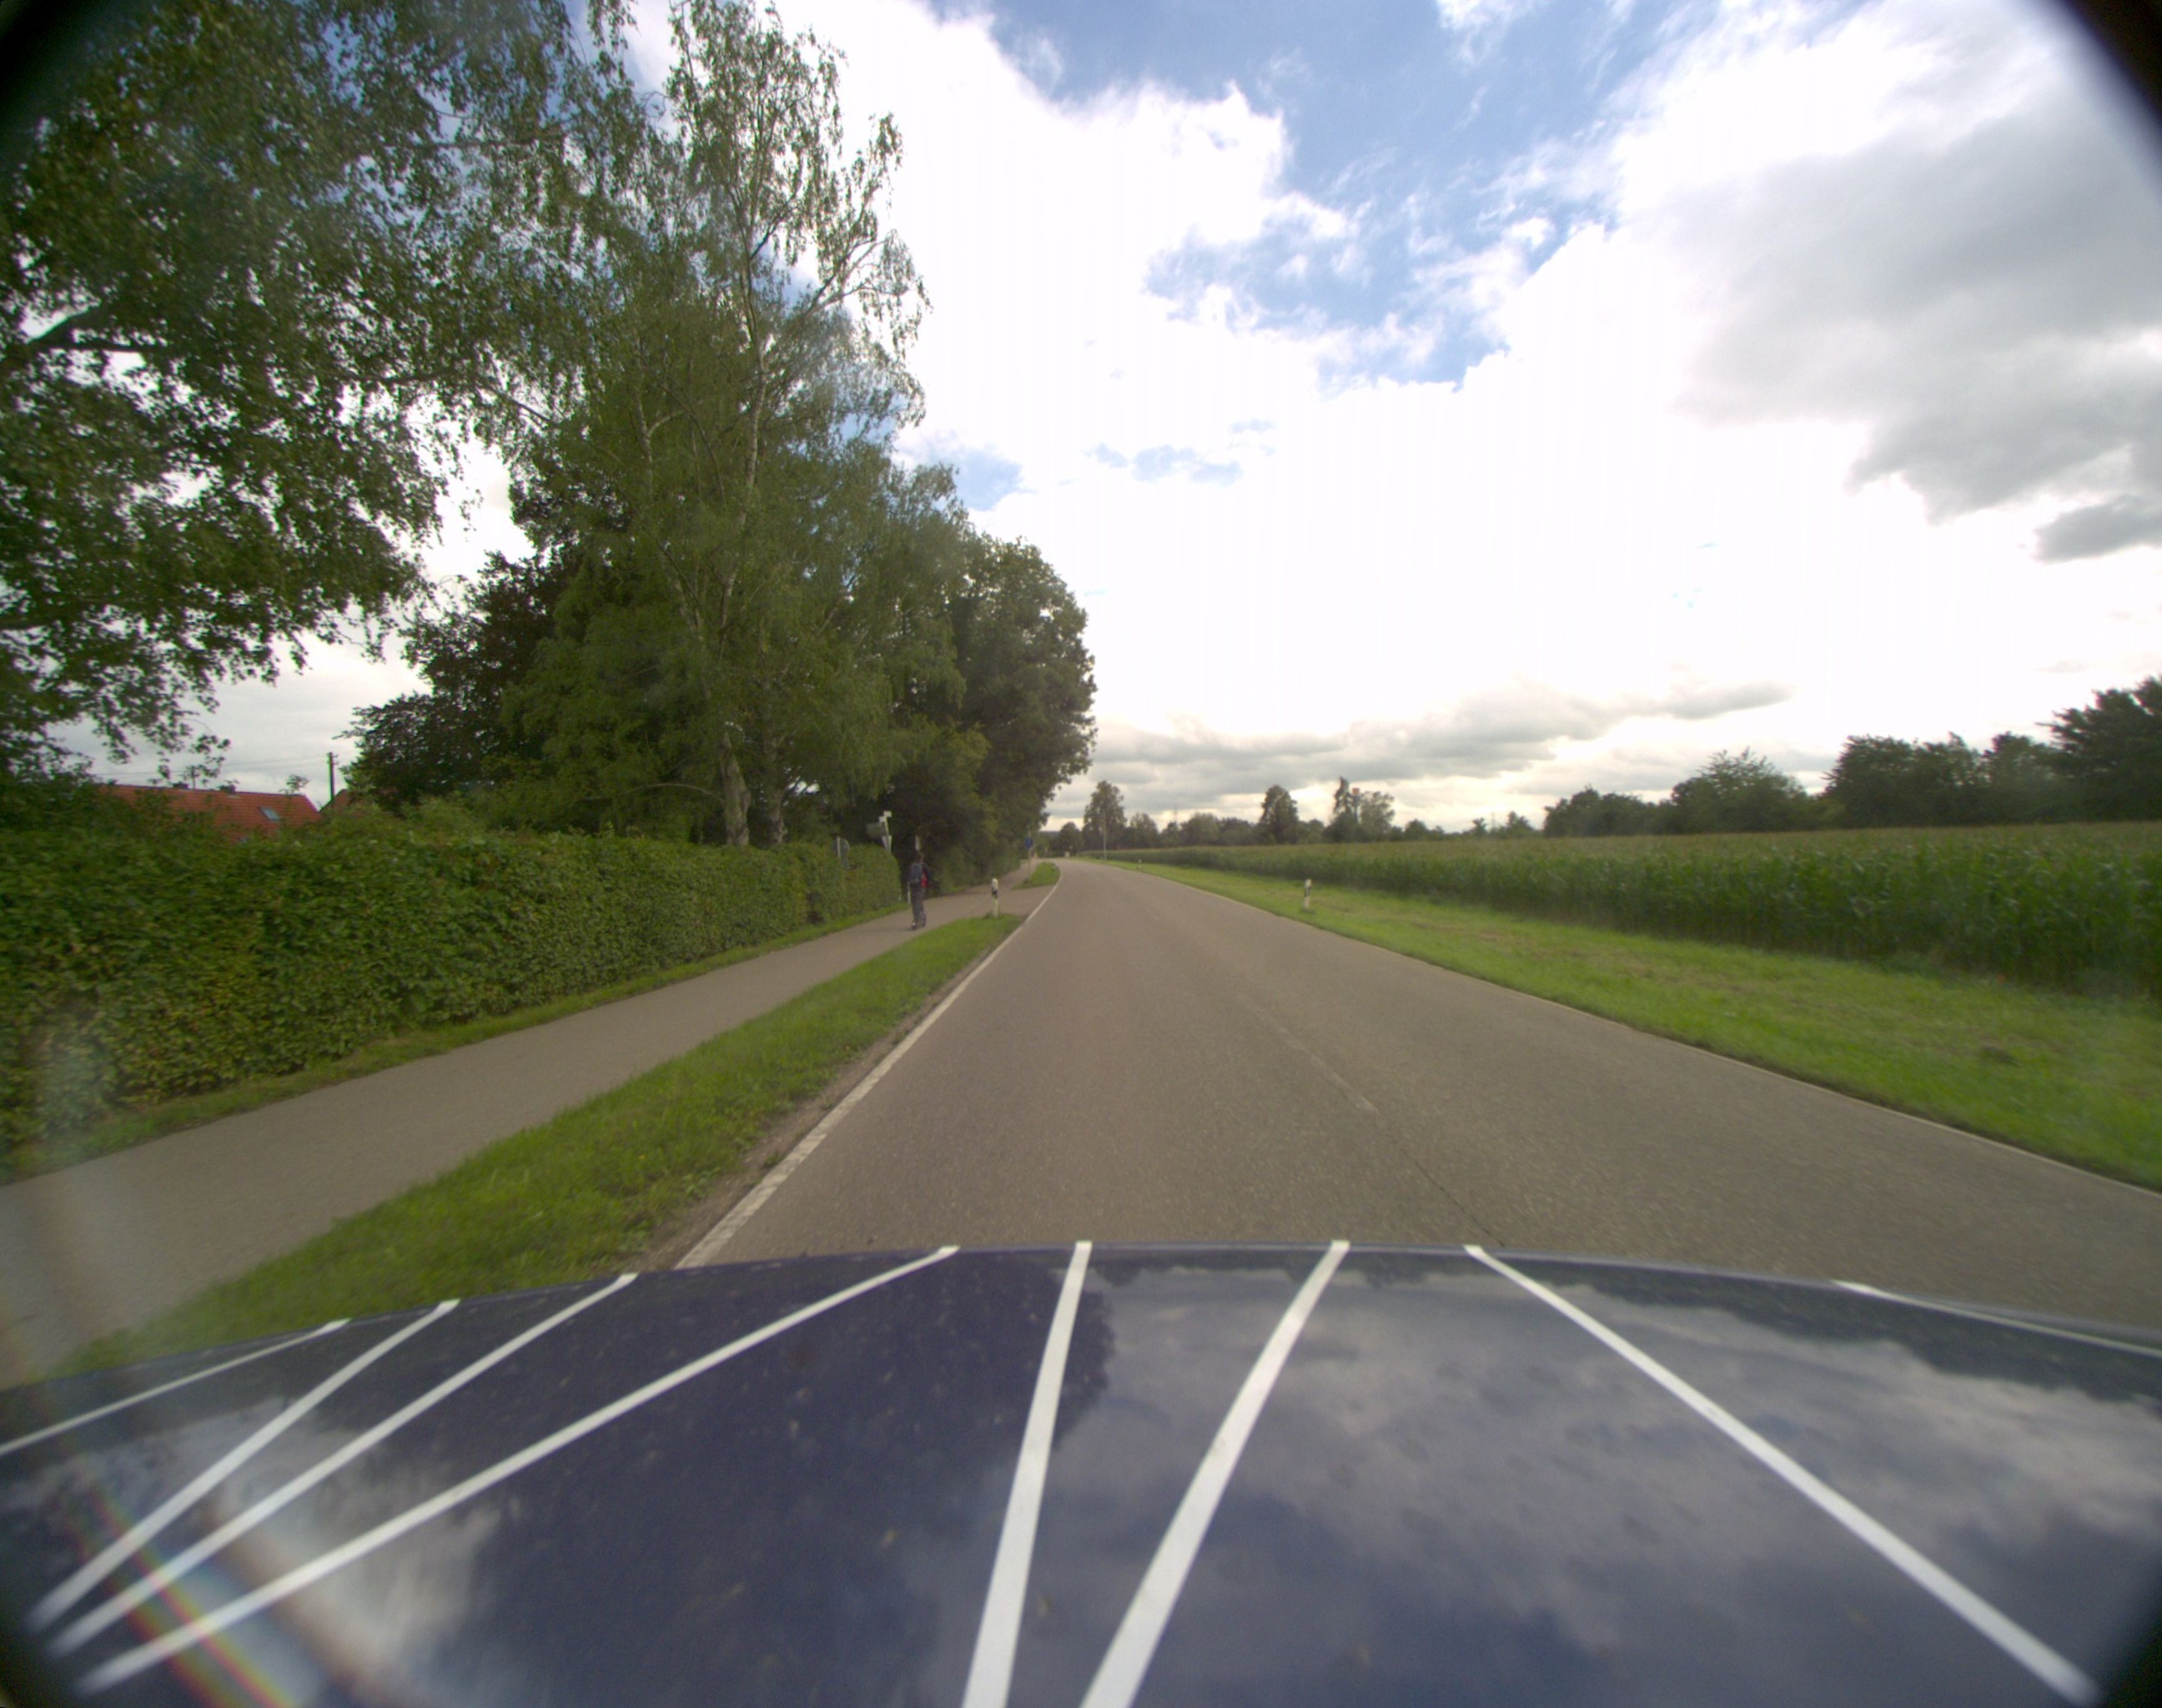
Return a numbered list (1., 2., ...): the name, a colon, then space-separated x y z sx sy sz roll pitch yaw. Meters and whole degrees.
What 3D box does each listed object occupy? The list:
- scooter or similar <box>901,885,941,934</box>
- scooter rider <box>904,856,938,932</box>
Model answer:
1. scooter or similar: -4.202 1.444 20.086 0.650 1.157 1.695 -2 1 1
2. scooter rider: -4.214 1.031 20.024 0.644 1.954 0.786 -2 1 1
